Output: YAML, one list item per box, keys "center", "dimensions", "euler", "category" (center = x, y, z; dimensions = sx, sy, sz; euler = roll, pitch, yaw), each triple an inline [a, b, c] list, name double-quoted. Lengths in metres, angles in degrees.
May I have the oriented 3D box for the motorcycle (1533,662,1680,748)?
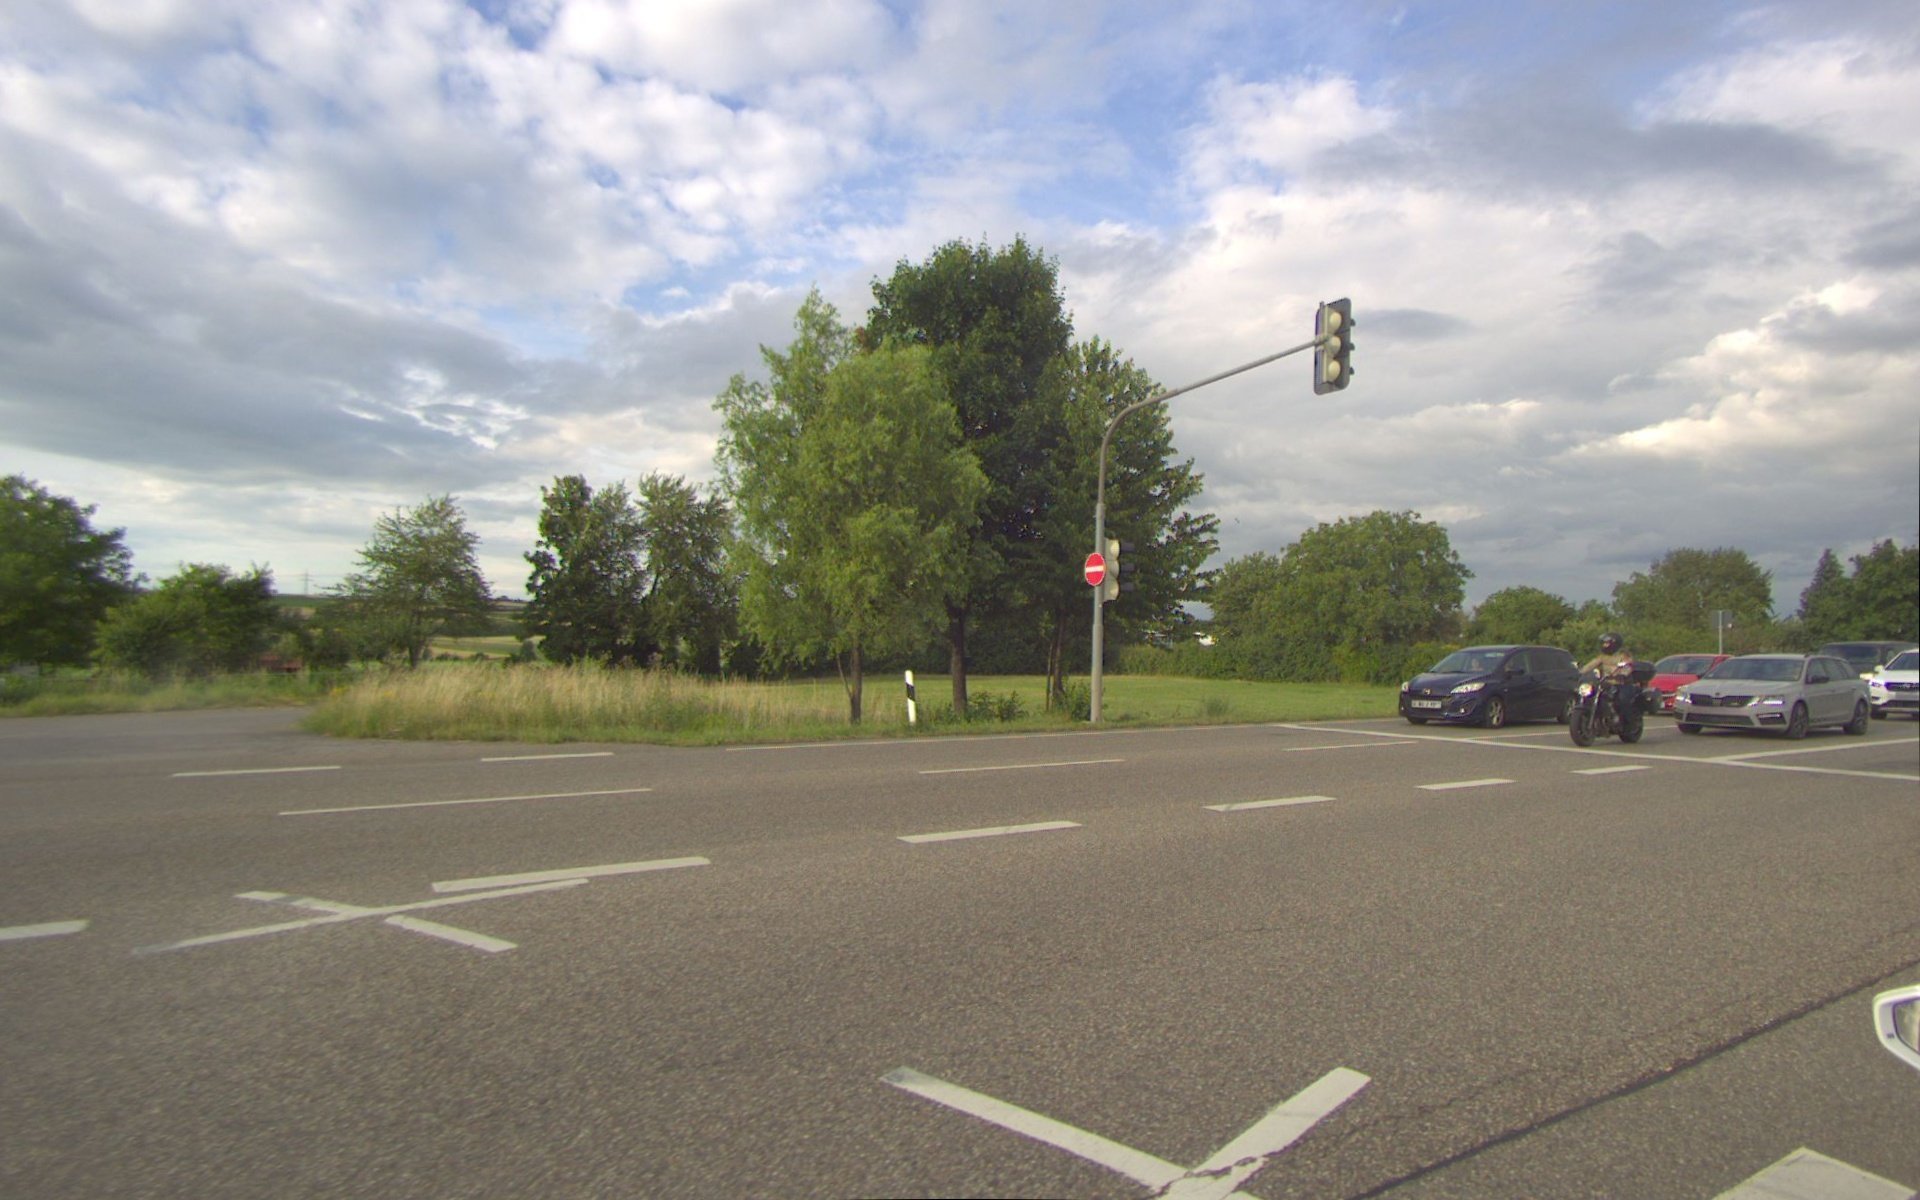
- center: [10.022, 1.591, 15.550]
  dimensions: [2.450, 1.219, 0.912]
  euler: [3, -3, -31]
  category: "motorcycle"

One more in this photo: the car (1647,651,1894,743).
- center: [14.893, 1.693, 18.384]
  dimensions: [5.093, 1.447, 1.898]
  euler: [2, -2, -31]
  category: "car"

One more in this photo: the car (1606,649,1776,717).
- center: [17.746, 1.965, 24.348]
  dimensions: [4.136, 1.484, 1.898]
  euler: [2, -2, -31]
  category: "car"

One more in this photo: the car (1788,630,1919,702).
- center: [27.575, 2.030, 30.668]
  dimensions: [4.889, 2.040, 1.984]
  euler: [3, -3, -30]
  category: "car"

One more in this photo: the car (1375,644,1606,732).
- center: [10.739, 1.698, 20.232]
  dimensions: [4.882, 1.556, 1.898]
  euler: [2, -2, -31]
  category: "car"

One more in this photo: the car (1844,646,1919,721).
- center: [22.570, 1.905, 23.286]
  dimensions: [4.355, 1.631, 1.898]
  euler: [2, -2, -31]
  category: "car"

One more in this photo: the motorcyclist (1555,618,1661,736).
- center: [10.031, 1.175, 15.558]
  dimensions: [1.261, 1.731, 0.912]
  euler: [2, -3, -30]
  category: "motorcyclist"
